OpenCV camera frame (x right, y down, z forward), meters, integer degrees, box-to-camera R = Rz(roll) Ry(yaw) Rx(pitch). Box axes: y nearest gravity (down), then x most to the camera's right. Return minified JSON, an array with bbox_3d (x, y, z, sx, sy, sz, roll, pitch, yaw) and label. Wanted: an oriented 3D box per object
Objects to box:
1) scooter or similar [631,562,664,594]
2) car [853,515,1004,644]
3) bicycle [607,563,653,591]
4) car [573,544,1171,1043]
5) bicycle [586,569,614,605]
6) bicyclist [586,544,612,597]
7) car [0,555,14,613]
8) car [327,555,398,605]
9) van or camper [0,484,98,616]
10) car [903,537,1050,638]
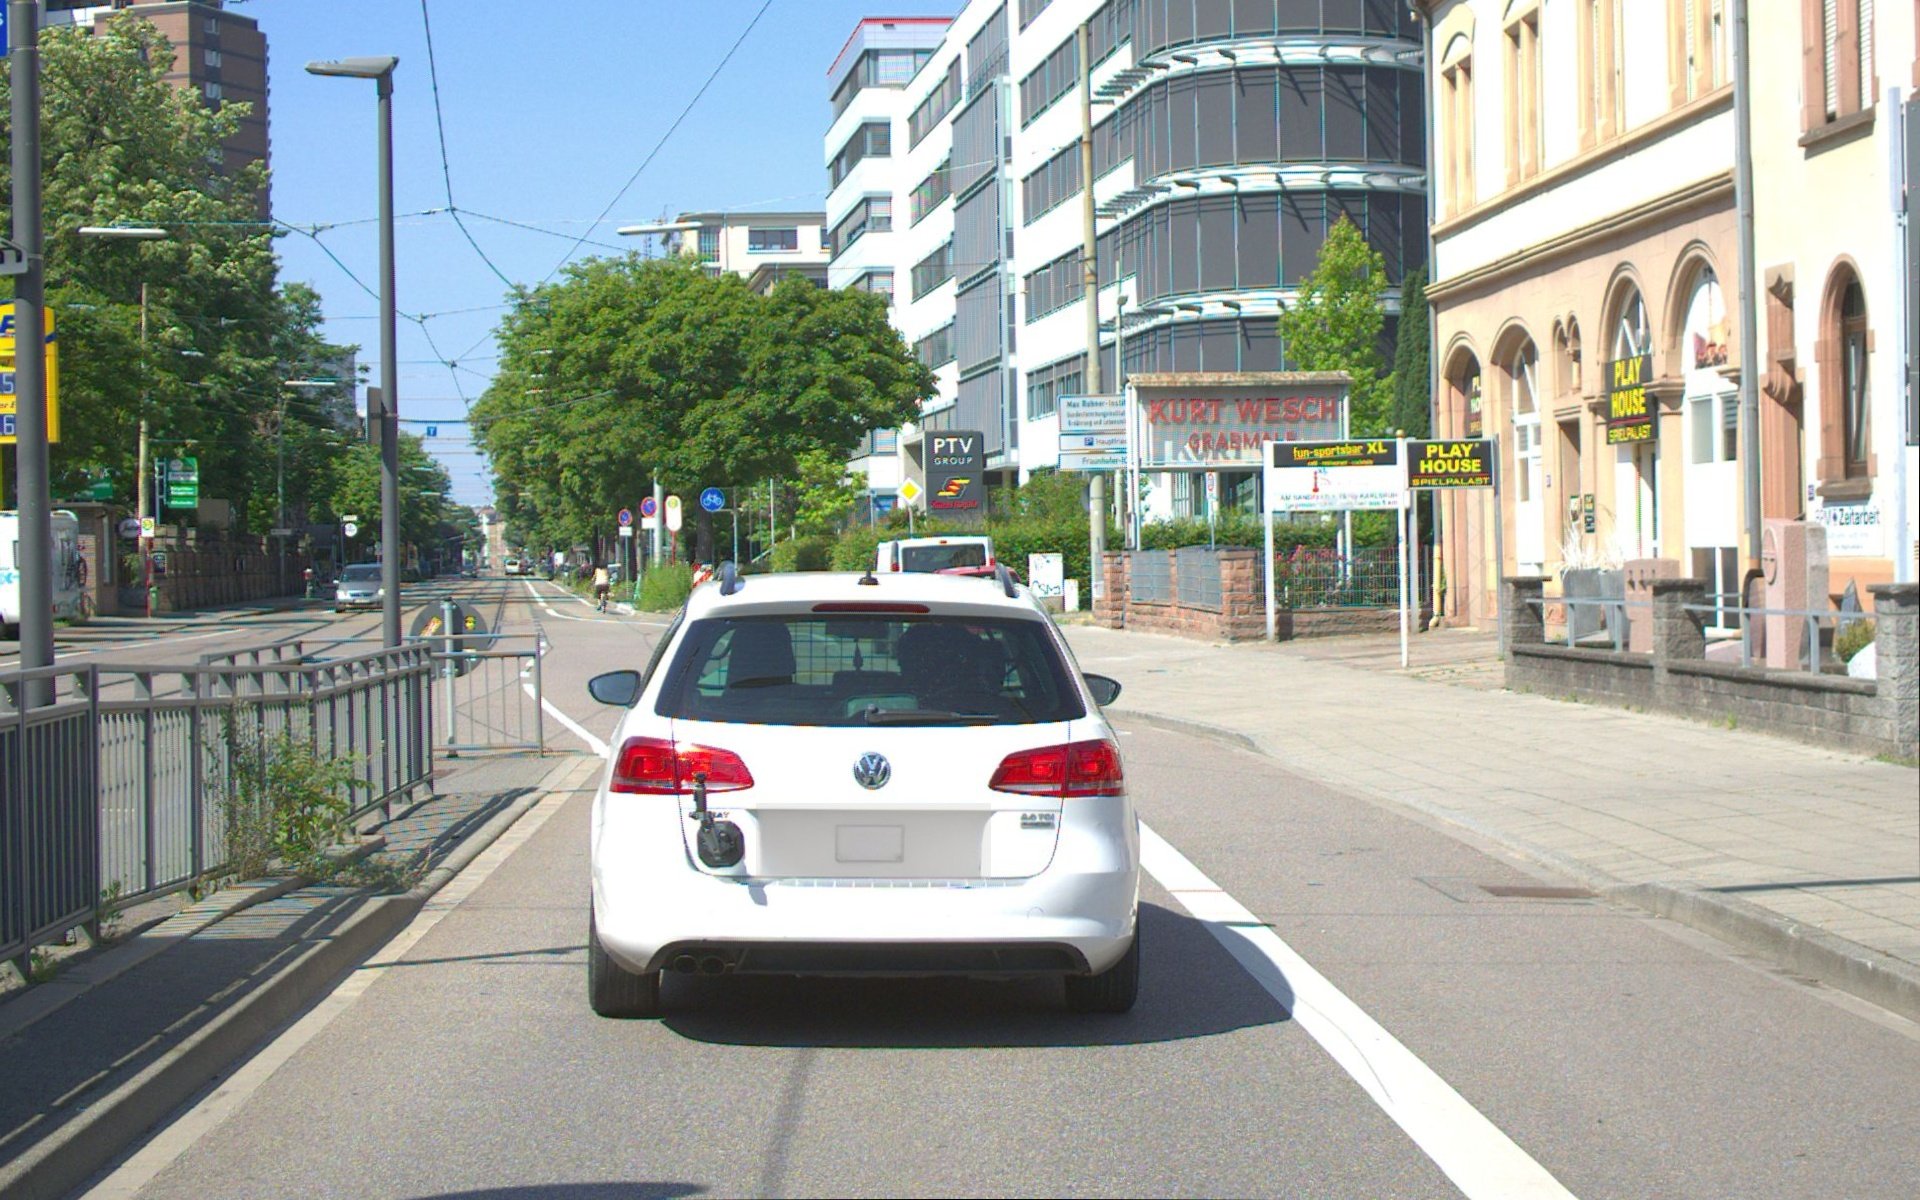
[{"bbox_3d":[-11.393,-0.797,125.249,1.143,1.150,0.493,-1,1,-1],"label":"scooter or similar"},{"bbox_3d":[-0.598,-0.370,59.748,1.976,2.047,5.192,-3,1,-7],"label":"car"},{"bbox_3d":[-13.241,-0.939,138.066,1.773,1.079,0.597,-2,1,-9],"label":"bicycle"},{"bbox_3d":[-0.442,0.528,12.265,1.753,1.437,4.413,0,1,-5],"label":"car"},{"bbox_3d":[-11.002,-0.395,104.985,0.811,1.074,2.012,-1,1,-7],"label":"bicycle"},{"bbox_3d":[-11.062,-0.902,105.330,0.785,1.623,0.738,1,0,-7],"label":"bicyclist"},{"bbox_3d":[-28.630,-0.400,94.960,1.947,1.619,4.569,0,1,37],"label":"car"},{"bbox_3d":[-19.845,-0.673,114.339,1.746,1.566,3.892,-2,0,-2],"label":"car"},{"bbox_3d":[-23.718,-1.234,79.731,6.691,2.957,2.616,2,0,1],"label":"van or camper"},{"bbox_3d":[0.212,-0.213,53.541,1.721,1.438,4.313,-3,1,-7],"label":"car"}]
